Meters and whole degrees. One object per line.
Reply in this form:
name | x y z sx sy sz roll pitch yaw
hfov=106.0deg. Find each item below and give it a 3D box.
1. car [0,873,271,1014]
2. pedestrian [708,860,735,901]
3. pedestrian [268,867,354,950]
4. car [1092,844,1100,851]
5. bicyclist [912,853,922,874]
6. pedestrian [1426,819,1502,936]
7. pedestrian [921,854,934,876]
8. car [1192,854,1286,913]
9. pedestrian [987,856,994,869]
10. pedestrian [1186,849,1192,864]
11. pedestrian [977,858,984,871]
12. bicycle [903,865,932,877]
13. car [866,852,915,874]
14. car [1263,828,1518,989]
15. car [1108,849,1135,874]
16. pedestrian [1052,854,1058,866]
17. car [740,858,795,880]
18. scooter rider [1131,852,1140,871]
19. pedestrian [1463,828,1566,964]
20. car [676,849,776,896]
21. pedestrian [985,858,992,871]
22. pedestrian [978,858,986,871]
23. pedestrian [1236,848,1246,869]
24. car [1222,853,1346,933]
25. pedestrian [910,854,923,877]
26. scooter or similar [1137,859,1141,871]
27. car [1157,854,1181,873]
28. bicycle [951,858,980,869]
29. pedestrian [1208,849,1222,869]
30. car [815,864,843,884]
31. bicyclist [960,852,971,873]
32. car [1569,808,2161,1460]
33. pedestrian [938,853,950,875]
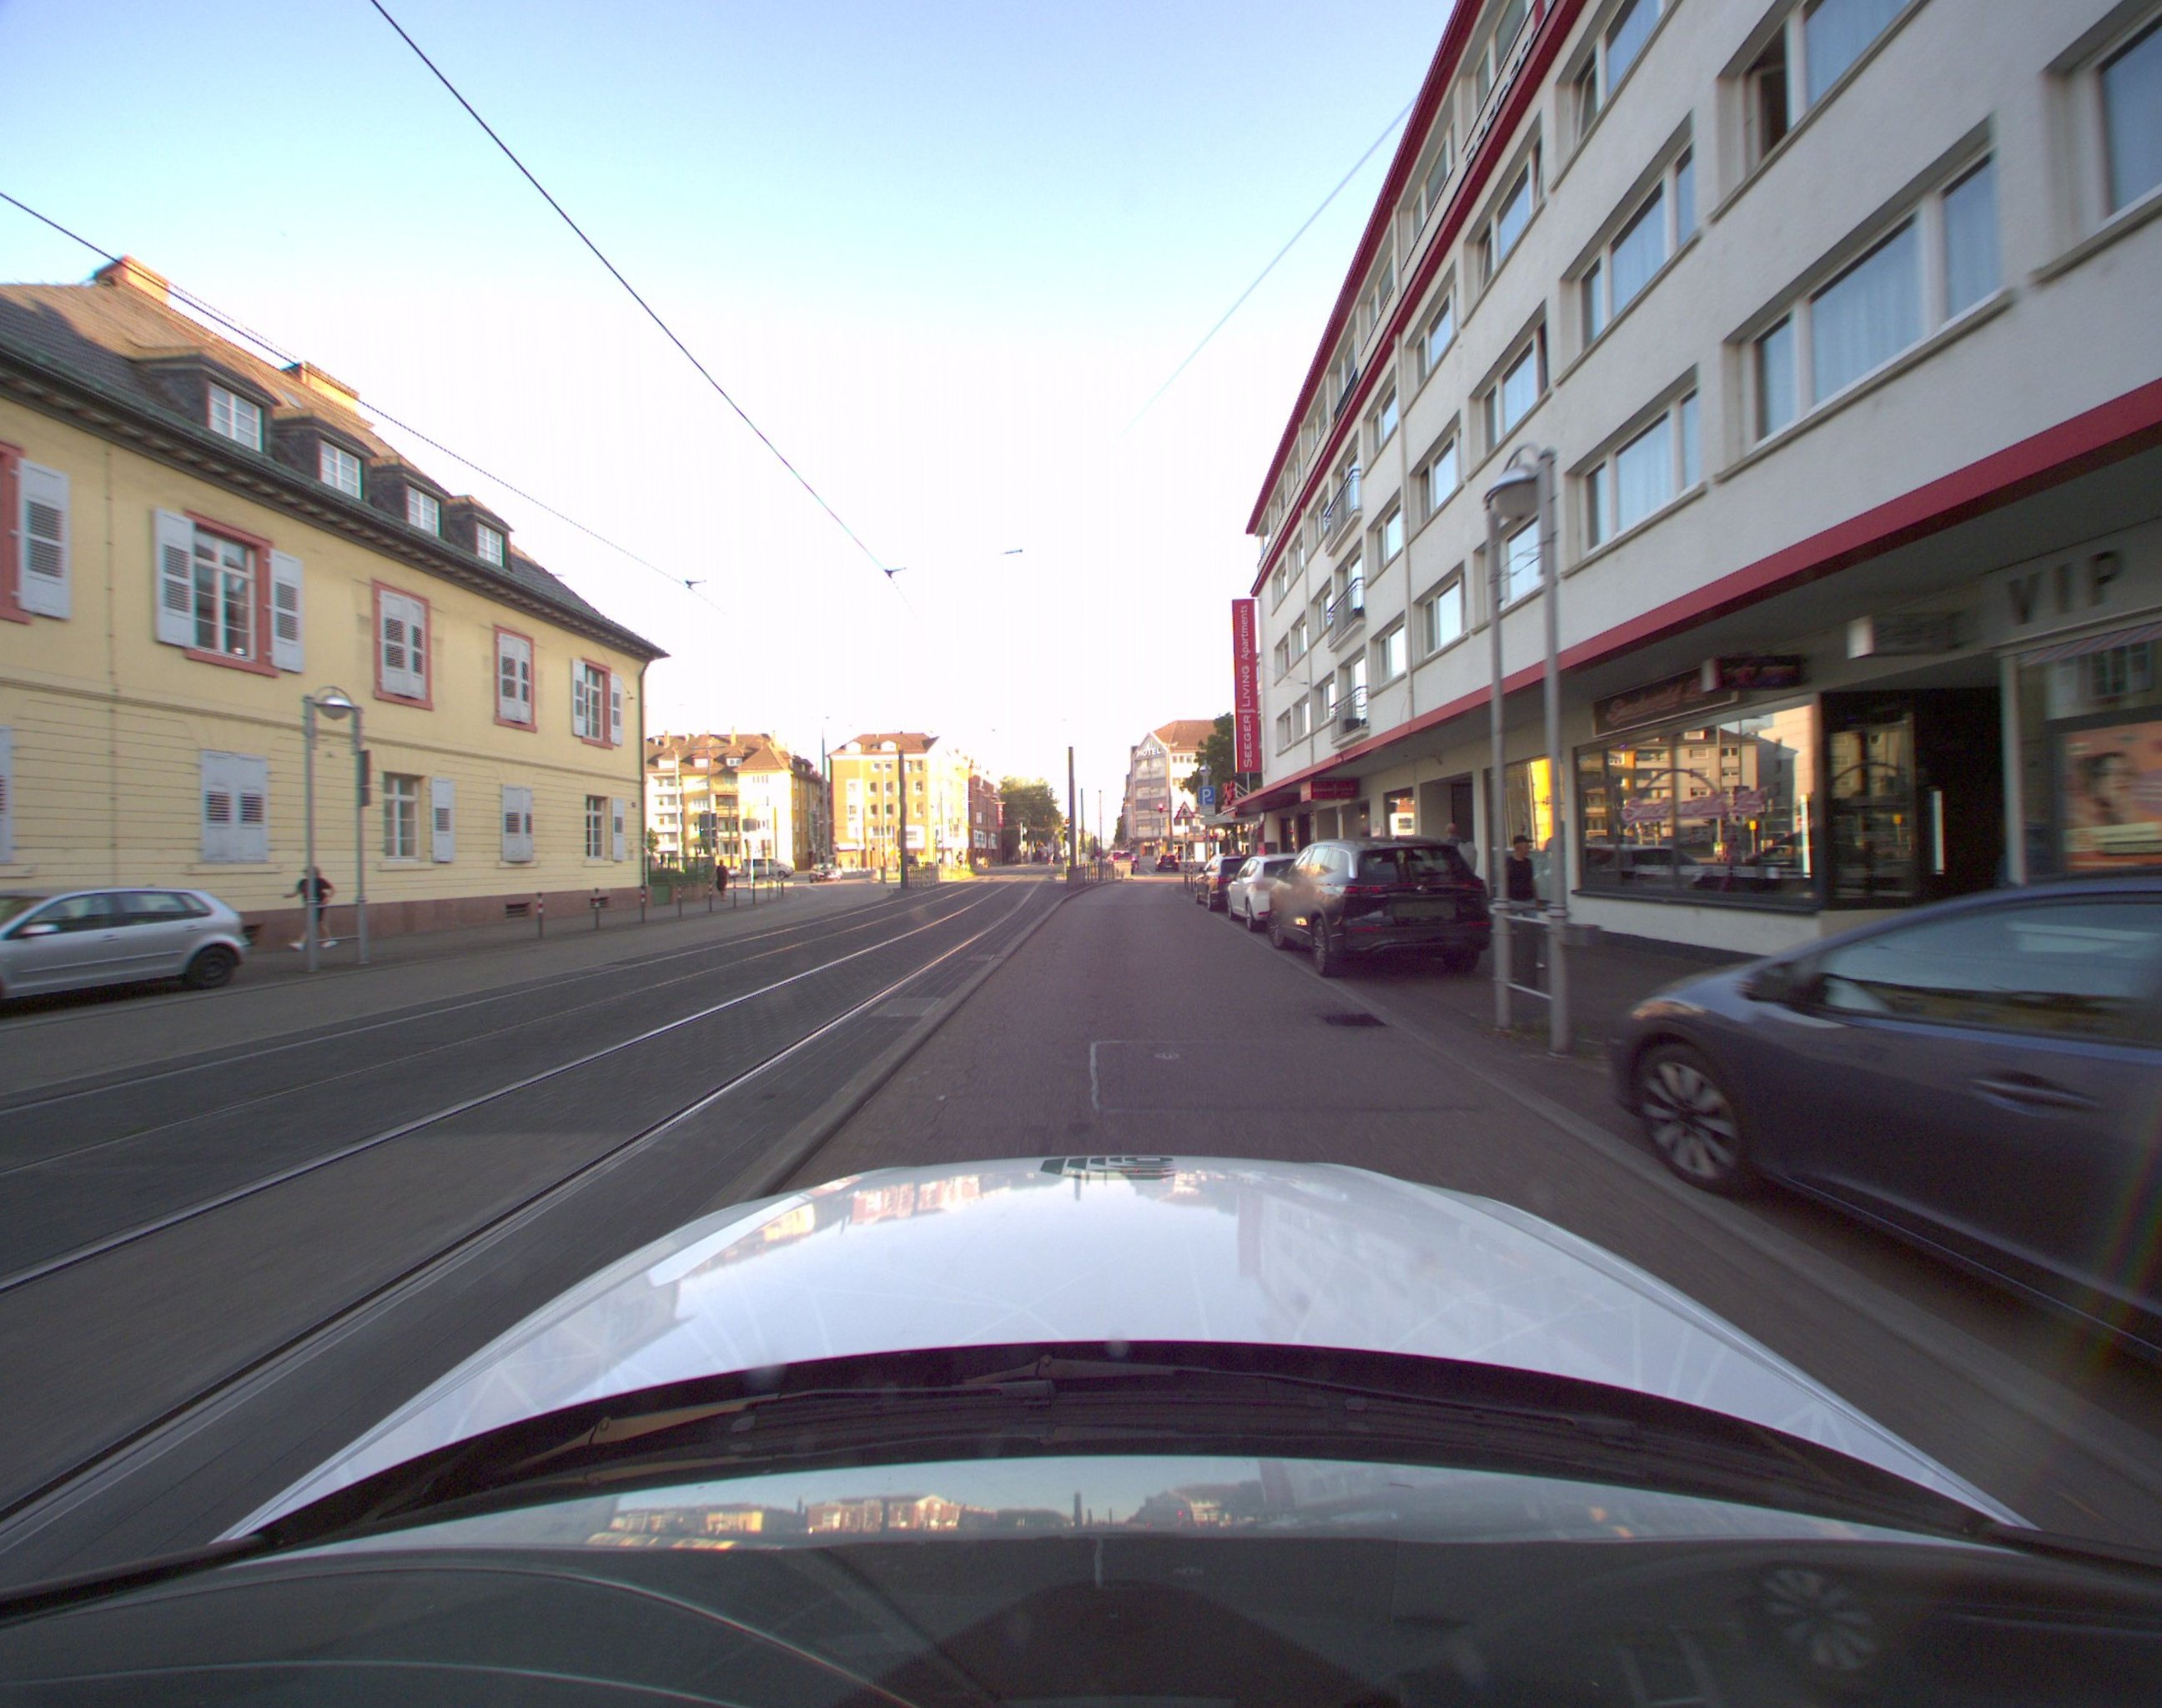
car | -12.814 1.027 9.946 1.741 1.474 4.002 0 0 2
pedestrian | -13.979 1.030 31.683 0.717 1.536 0.718 -2 -1 -3
pedestrian | -14.812 1.024 15.688 0.796 1.542 0.878 0 -1 4
car | 3.999 -1.685 213.369 1.985 1.901 4.003 0 -1 3
bicyclist | -15.544 0.915 77.206 0.862 2.014 0.643 0 -1 -18
pedestrian | 6.425 0.384 13.707 0.772 1.880 0.934 -2 -1 0
pedestrian | -9.683 0.694 51.460 0.662 1.375 0.651 -1 0 -1
car | 4.175 0.740 22.181 1.783 1.413 4.689 0 -1 2
pedestrian | -14.907 1.394 134.339 1.090 2.014 1.163 0 -1 -1
pedestrian | 13.112 0.301 98.964 0.743 1.778 0.801 0 -1 4
pedestrian | -16.006 1.710 129.903 1.090 2.014 0.908 0 -1 -1
bicycle | -15.468 1.607 77.249 2.647 1.099 0.433 0 -1 -18
car | -18.962 0.913 81.302 4.561 2.036 1.993 -2 0 -11
car | 3.785 0.594 10.871 1.849 1.701 4.419 0 -1 2
car | 2.942 0.581 58.719 1.827 1.636 4.093 -3 -2 3
pedestrian | -3.991 0.910 126.334 0.802 1.823 0.704 0 -1 3
car | -30.388 1.442 79.034 4.689 2.013 1.991 -2 0 -13
scooter rider | 4.788 0.653 71.376 0.658 1.647 0.663 0 -1 10
pedestrian | 5.318 0.496 10.047 0.730 1.574 0.967 -1 0 1
car | -16.657 0.860 38.405 3.993 2.013 1.990 -2 0 -14
pedestrian | -14.747 1.723 130.113 0.973 2.014 0.908 0 -1 -1
pedestrian | -15.919 1.727 131.102 1.090 2.014 0.908 0 -1 -1
pedestrian | 13.652 0.374 69.641 0.743 1.778 0.974 0 -1 3
car | 3.975 0.721 16.620 1.645 1.421 4.193 0 -1 2
pedestrian | -10.424 0.722 51.463 0.662 1.375 0.651 -1 0 -1
scooter or similar | 5.087 0.971 71.500 0.278 1.091 1.260 0 -1 9
car | 7.114 0.722 66.266 1.756 1.440 4.005 -2 0 5
bicycle | -11.085 0.904 78.180 2.647 1.099 0.433 0 -1 -18
pedestrian | 11.199 0.449 68.148 0.825 1.685 1.043 0 -1 -16
car | -19.079 1.494 61.593 1.773 1.376 4.192 -1 0 -21
bicyclist | -11.083 0.817 78.188 0.863 2.014 0.642 0 -1 -19
car | 3.424 0.656 2.185 1.774 1.522 4.359 0 0 2
pedestrian | -8.644 0.650 51.431 0.662 1.375 0.651 -2 0 -1
